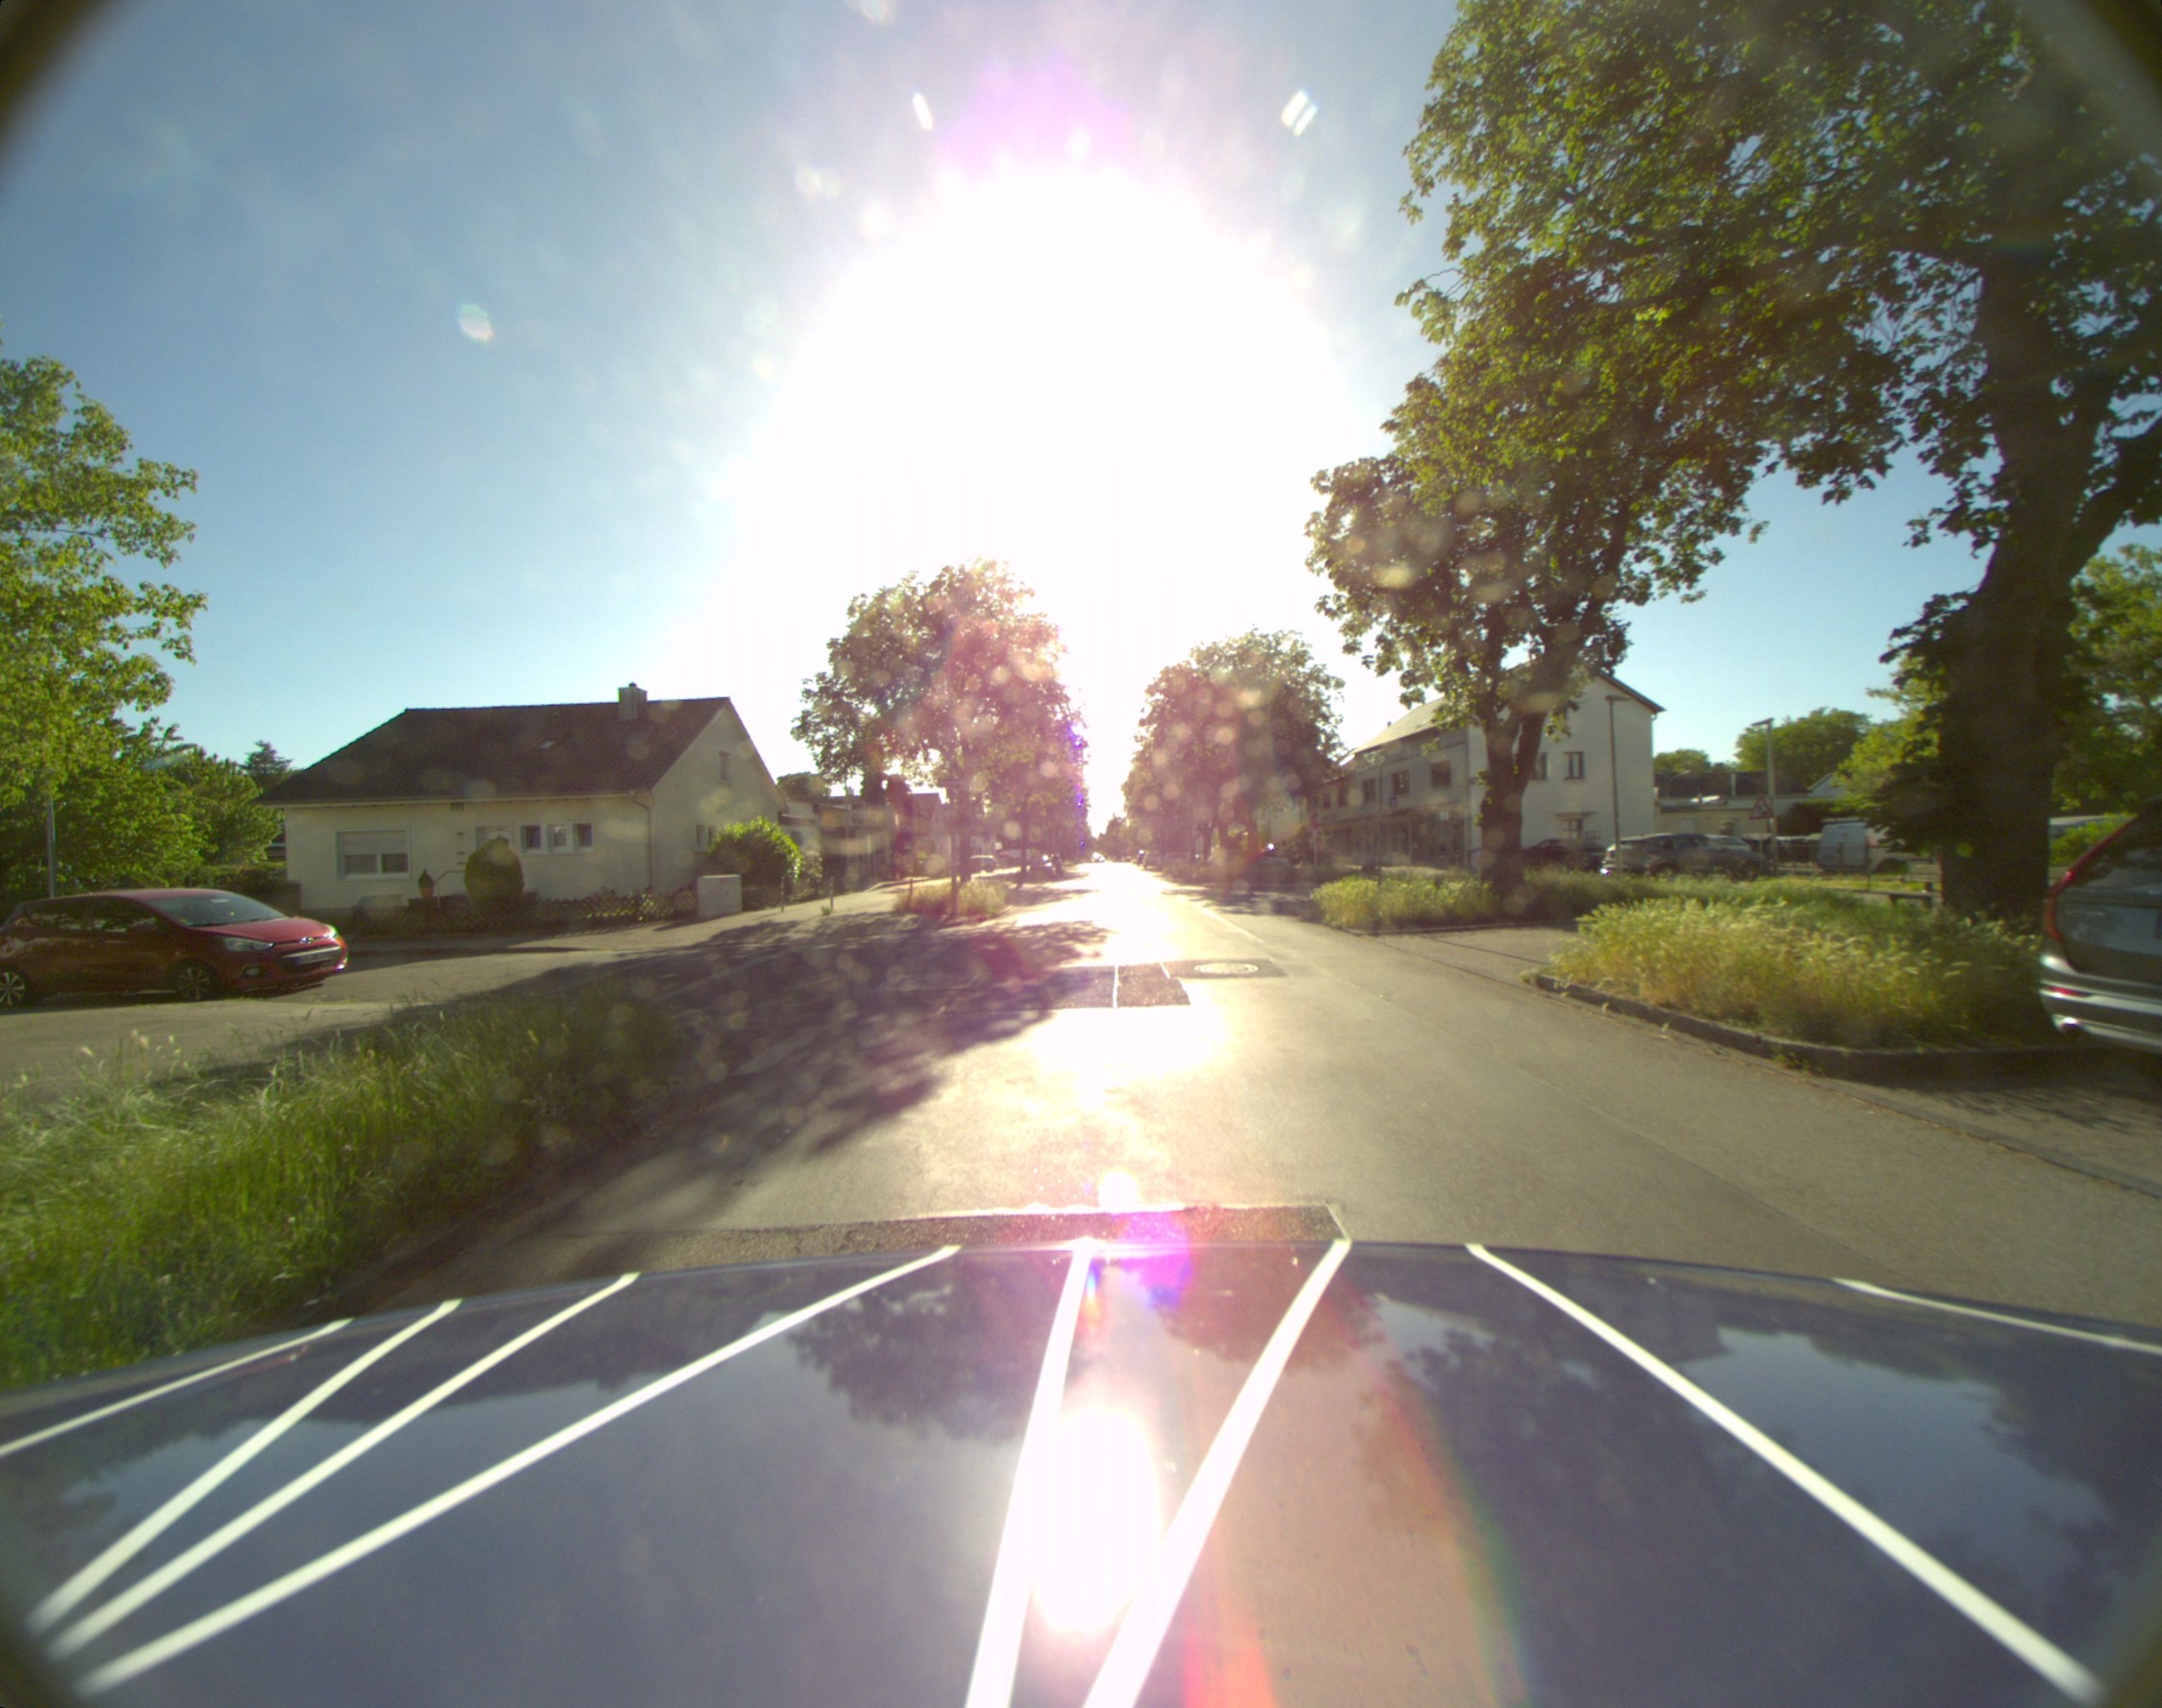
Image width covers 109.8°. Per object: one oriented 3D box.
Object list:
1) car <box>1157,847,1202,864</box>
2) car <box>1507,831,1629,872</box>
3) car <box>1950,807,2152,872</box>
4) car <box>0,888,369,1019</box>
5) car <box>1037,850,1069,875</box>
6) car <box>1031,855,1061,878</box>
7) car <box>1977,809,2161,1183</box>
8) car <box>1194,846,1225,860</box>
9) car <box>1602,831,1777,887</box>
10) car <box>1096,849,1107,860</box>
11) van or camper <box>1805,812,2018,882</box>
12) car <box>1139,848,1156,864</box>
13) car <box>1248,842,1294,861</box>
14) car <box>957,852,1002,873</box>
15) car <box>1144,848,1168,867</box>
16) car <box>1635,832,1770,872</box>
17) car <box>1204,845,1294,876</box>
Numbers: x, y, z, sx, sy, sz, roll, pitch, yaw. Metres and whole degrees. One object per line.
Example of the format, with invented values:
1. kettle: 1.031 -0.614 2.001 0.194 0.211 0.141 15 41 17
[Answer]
1. car: 8.825 0.130 68.350 3.694 1.315 1.624 -4 1 -4
2. car: 21.200 -0.170 33.370 1.999 1.555 4.906 -2 2 -3
3. car: 31.150 -0.451 24.493 3.997 1.819 1.999 -3 1 -1
4. car: -12.622 1.332 10.681 3.550 1.502 1.640 -3 0 -2
5. car: -2.049 0.624 57.547 1.941 1.684 4.363 -2 0 3
6. car: -2.315 0.819 51.437 1.689 1.414 3.777 -1 1 2
7. car: 7.604 0.484 3.336 5.075 1.718 1.999 -5 1 -2
8. car: 18.539 -0.185 109.842 3.997 1.674 2.000 -5 1 1
9. car: 19.000 0.140 23.838 3.999 1.628 1.999 -1 1 -5
10. car: 3.277 0.087 122.222 1.539 1.582 3.458 -5 1 4
11. van or camper: 26.372 -0.223 24.244 4.684 2.002 1.999 -2 1 -1
12. car: 7.373 0.235 84.596 1.815 1.722 4.056 -2 0 4
13. car: 16.994 -0.227 68.136 3.773 1.557 1.691 -1 1 5
14. car: -8.819 0.733 66.335 3.621 1.431 1.695 -5 1 -2
15. car: 7.180 0.341 73.282 1.998 1.530 3.695 -5 1 4
16. car: 26.897 -0.155 33.122 1.877 1.519 4.665 -2 2 -3
17. car: 9.026 0.323 41.095 4.392 1.408 2.000 -3 1 1
